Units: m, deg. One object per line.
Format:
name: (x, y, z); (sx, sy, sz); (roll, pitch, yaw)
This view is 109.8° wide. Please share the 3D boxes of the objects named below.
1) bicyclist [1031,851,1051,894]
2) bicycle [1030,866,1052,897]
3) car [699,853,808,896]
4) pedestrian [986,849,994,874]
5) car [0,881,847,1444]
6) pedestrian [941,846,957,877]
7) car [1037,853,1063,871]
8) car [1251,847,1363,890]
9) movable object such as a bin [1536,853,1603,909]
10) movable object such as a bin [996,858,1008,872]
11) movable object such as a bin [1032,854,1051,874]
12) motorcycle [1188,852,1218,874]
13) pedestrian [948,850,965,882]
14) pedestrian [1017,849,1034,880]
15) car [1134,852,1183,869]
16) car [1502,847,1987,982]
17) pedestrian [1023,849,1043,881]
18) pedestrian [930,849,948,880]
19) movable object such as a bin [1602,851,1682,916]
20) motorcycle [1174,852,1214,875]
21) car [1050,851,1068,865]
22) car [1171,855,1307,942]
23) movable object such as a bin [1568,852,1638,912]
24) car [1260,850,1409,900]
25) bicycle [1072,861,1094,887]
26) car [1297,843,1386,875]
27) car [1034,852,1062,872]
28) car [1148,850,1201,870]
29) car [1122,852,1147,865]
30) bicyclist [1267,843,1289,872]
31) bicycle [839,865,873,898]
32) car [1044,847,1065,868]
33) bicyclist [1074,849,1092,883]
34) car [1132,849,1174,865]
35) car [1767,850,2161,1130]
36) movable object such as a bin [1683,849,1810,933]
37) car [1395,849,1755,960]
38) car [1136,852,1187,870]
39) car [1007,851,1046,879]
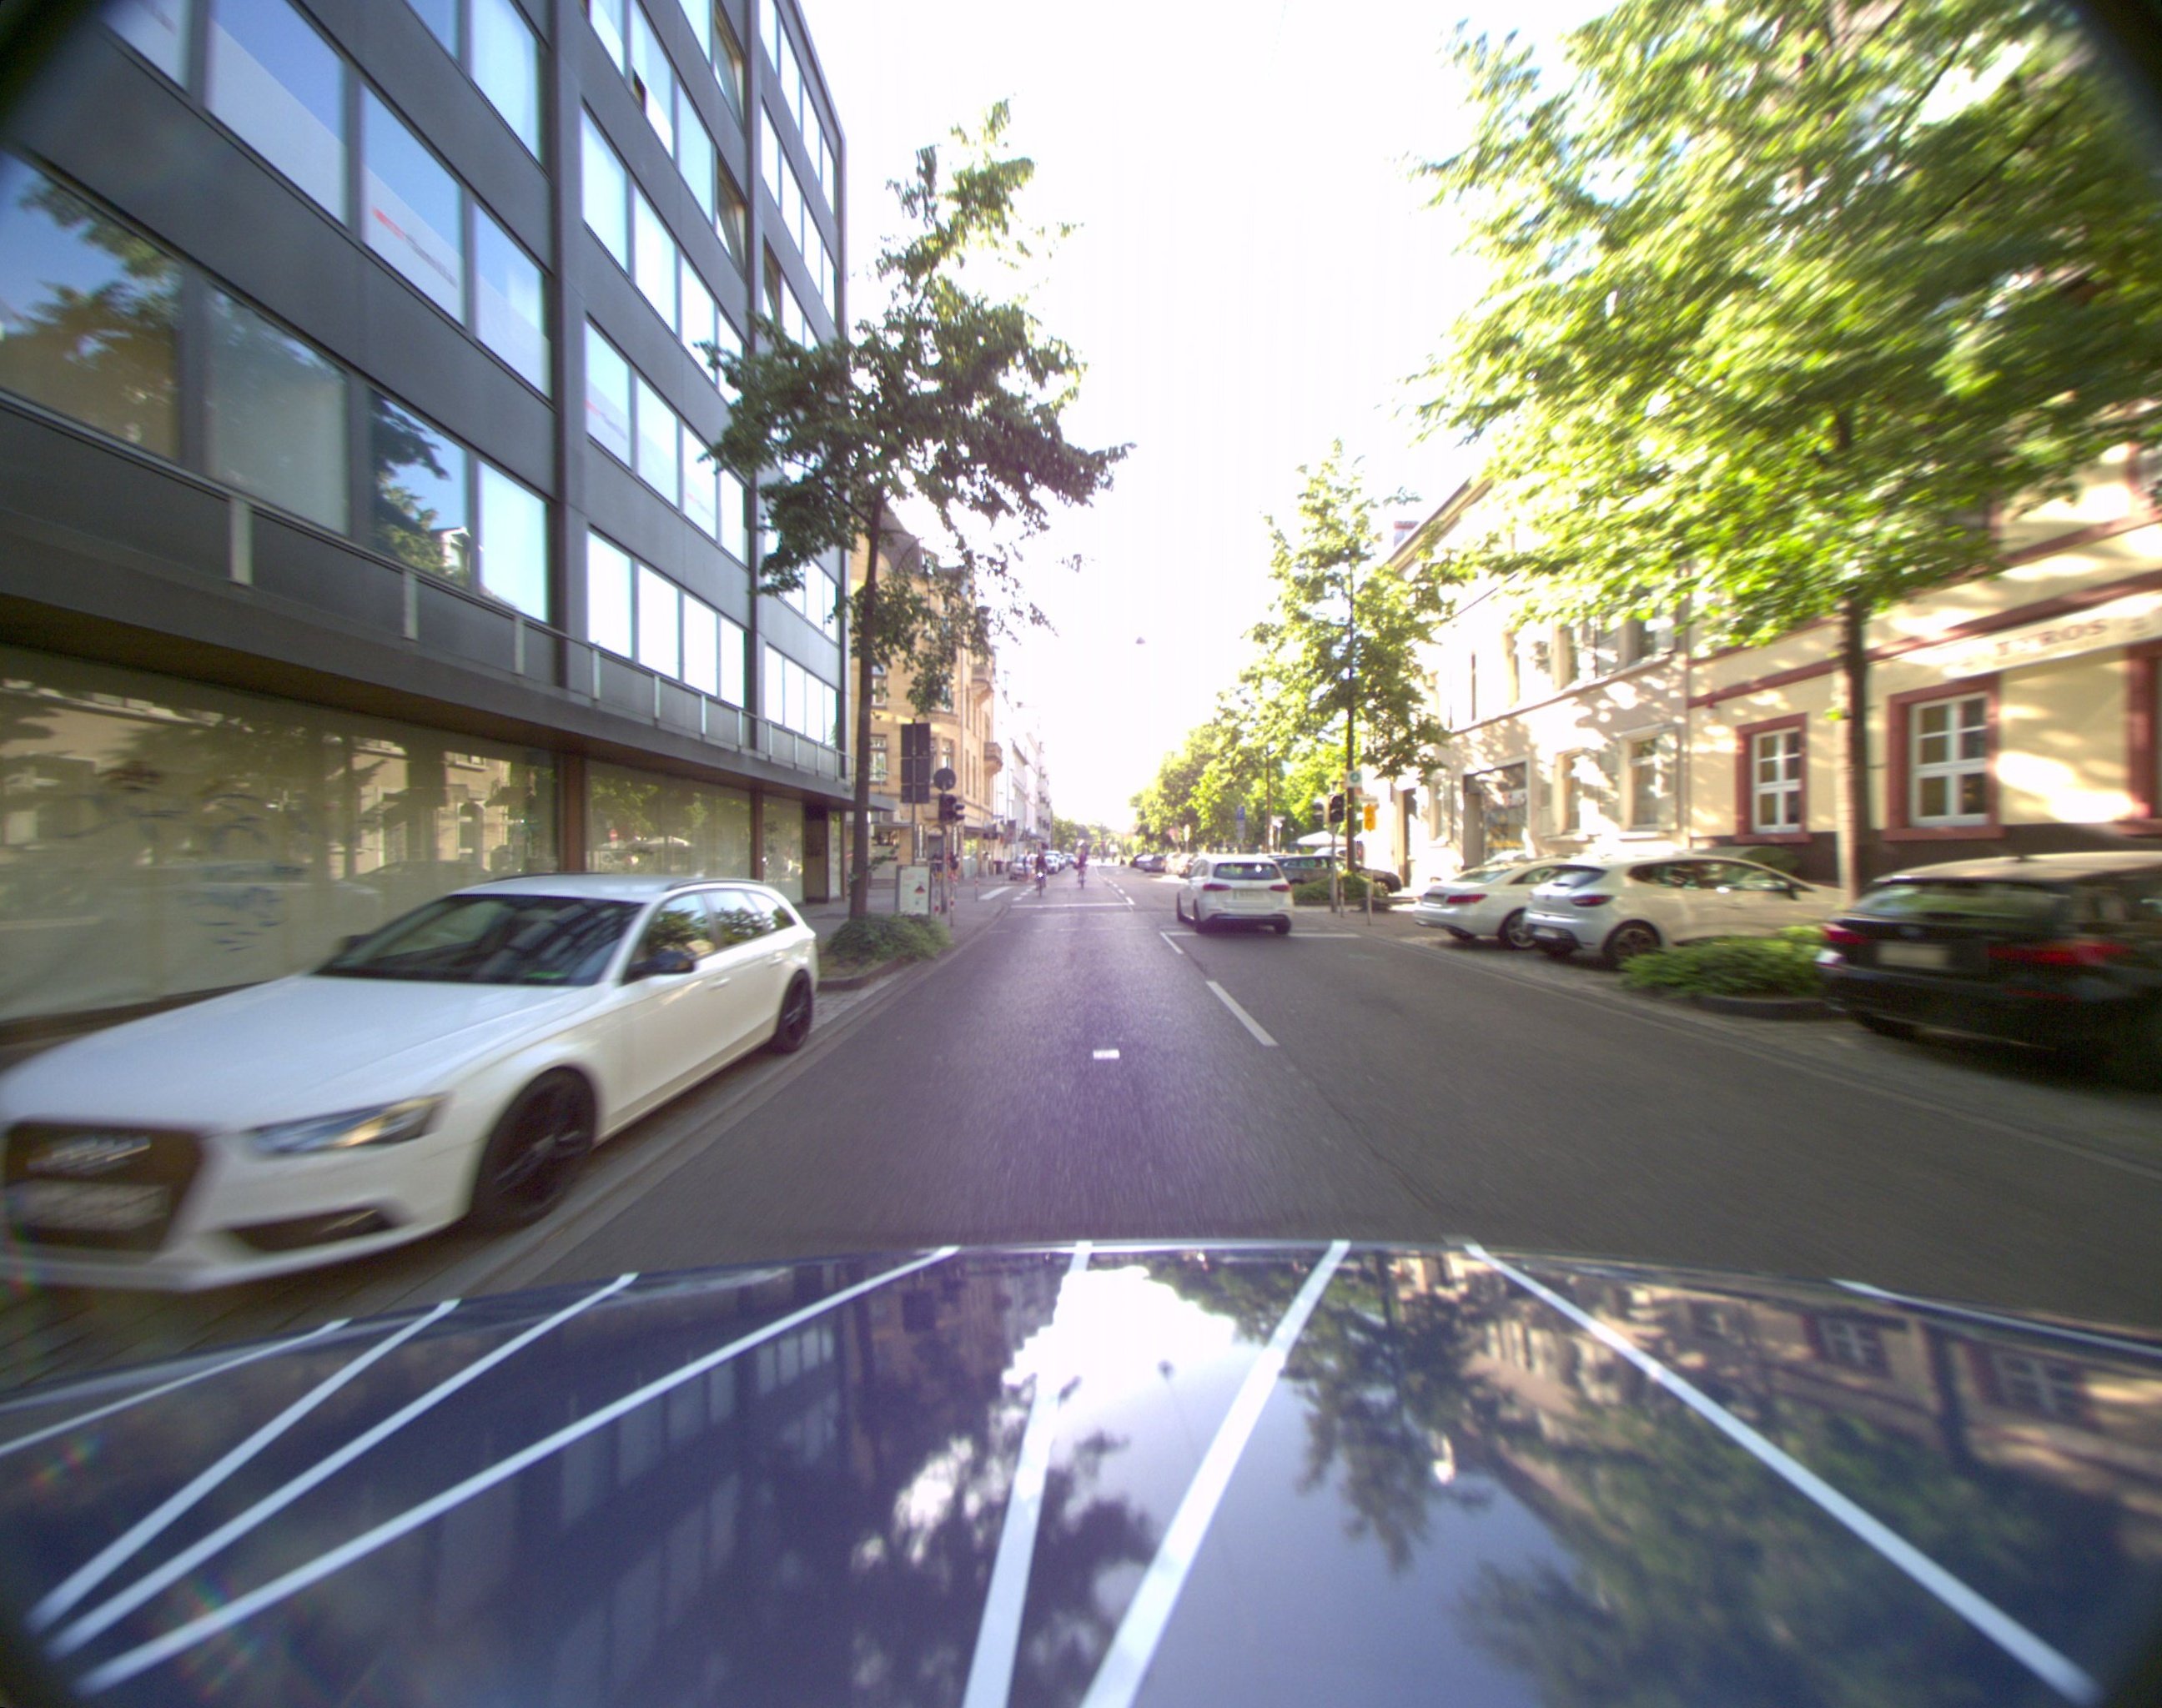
bicyclist: (-1.469, 0.664, 28.075); (0.658, 1.562, 0.909); (-1, 1, 1)
bicycle: (-1.461, 1.007, 28.088); (0.666, 1.061, 1.836); (-1, 0, 1)
car: (-14.494, 0.856, 33.767); (4.323, 1.761, 1.996); (-1, 0, -23)
pedestrian: (-6.199, 0.505, 51.780); (0.536, 1.732, 0.598); (-1, 1, -4)
car: (-3.163, 0.988, 4.643); (1.826, 1.394, 4.842); (2, 0, 1)
pedestrian: (-7.315, 0.400, 41.994); (0.498, 1.683, 0.717); (0, 1, 28)
car: (-2.716, 0.654, 67.849); (1.998, 1.482, 4.000); (2, 0, 1)
car: (9.104, 0.557, 30.904); (3.996, 1.630, 1.945); (-1, 0, 3)
movable object such as a bin: (12.289, 0.664, 19.159); (0.911, 1.359, 1.261); (-1, 1, 4)
movable object such as a bin: (-5.958, 0.812, 57.504); (0.725, 1.042, 0.664); (3, -1, 11)
movable object such as a bin: (-2.962, 0.768, 57.086); (1.147, 1.413, 1.411); (3, 1, 5)
motorcycle: (7.922, 0.567, 49.461); (1.750, 1.415, 0.831); (-1, 1, 27)
pedestrian: (-6.583, 0.628, 40.198); (0.617, 1.682, 0.677); (3, 3, 45)
pedestrian: (-3.154, 0.582, 43.078); (0.699, 1.709, 0.693); (1, 1, -22)
car: (7.072, 0.609, 69.481); (4.005, 1.465, 1.996); (-1, 0, -25)
car: (8.594, 0.744, 10.223); (4.711, 1.483, 2.000); (-2, 0, 1)
pedestrian: (-2.677, 0.606, 42.483); (0.693, 1.709, 0.897); (2, 1, 25)
pedestrian: (-7.659, 0.562, 40.964); (0.618, 1.683, 0.717); (0, 1, 28)
movable object such as a bin: (12.187, 0.612, 16.553); (0.819, 1.354, 1.345); (-1, 1, 4)
motorcycle: (7.250, 0.609, 48.659); (2.316, 1.415, 1.002); (-1, 1, 28)
car: (-2.492, 0.449, 87.180); (1.999, 1.444, 3.955); (2, 0, 0)
car: (3.088, 0.800, 15.803); (1.915, 1.535, 4.353); (0, 0, 0)
movable object such as a bin: (12.257, 0.637, 17.878); (0.831, 1.347, 1.248); (-1, 1, 4)
car: (8.336, 0.666, 25.289); (4.349, 1.535, 1.945); (-1, 0, 3)
bicycle: (0.071, 0.912, 35.079); (0.718, 1.105, 2.268); (-1, 0, -6)
car: (16.467, 0.340, 47.983); (5.336, 1.933, 2.070); (0, 0, -25)
car: (-2.739, 0.655, 63.712); (1.998, 1.565, 4.000); (2, 0, 1)
car: (7.876, 0.517, 64.105); (4.006, 1.553, 1.995); (-1, 0, -30)
car: (6.191, 0.503, 87.395); (1.771, 1.421, 4.006); (-1, 0, 20)
bicyclist: (10.507, 0.191, 40.505); (0.891, 1.516, 0.667); (-2, 1, -30)
bicycle: (-8.271, 0.990, 27.894); (0.574, 1.154, 1.740); (0, -1, -38)
car: (-2.689, 0.336, 77.207); (1.999, 1.942, 5.100); (2, 0, -1)
bicyclist: (0.078, 0.537, 34.900); (0.718, 1.553, 0.863); (-1, 1, -7)
car: (7.653, 0.327, 81.035); (4.003, 1.684, 1.997); (-1, 0, -18)
car: (7.943, 0.768, 5.550); (4.353, 1.535, 1.963); (-1, 0, -6)
movable object such as a bin: (12.041, 0.637, 13.819); (1.136, 1.436, 1.382); (-1, 1, 4)
car: (7.958, 0.753, 12.527); (4.713, 1.484, 1.999); (-2, 2, -4)
car: (6.999, 0.609, 66.334); (4.006, 1.433, 1.995); (-1, 0, -30)
car: (-3.289, 0.650, 46.705); (1.978, 1.565, 4.126); (2, 0, 1)
